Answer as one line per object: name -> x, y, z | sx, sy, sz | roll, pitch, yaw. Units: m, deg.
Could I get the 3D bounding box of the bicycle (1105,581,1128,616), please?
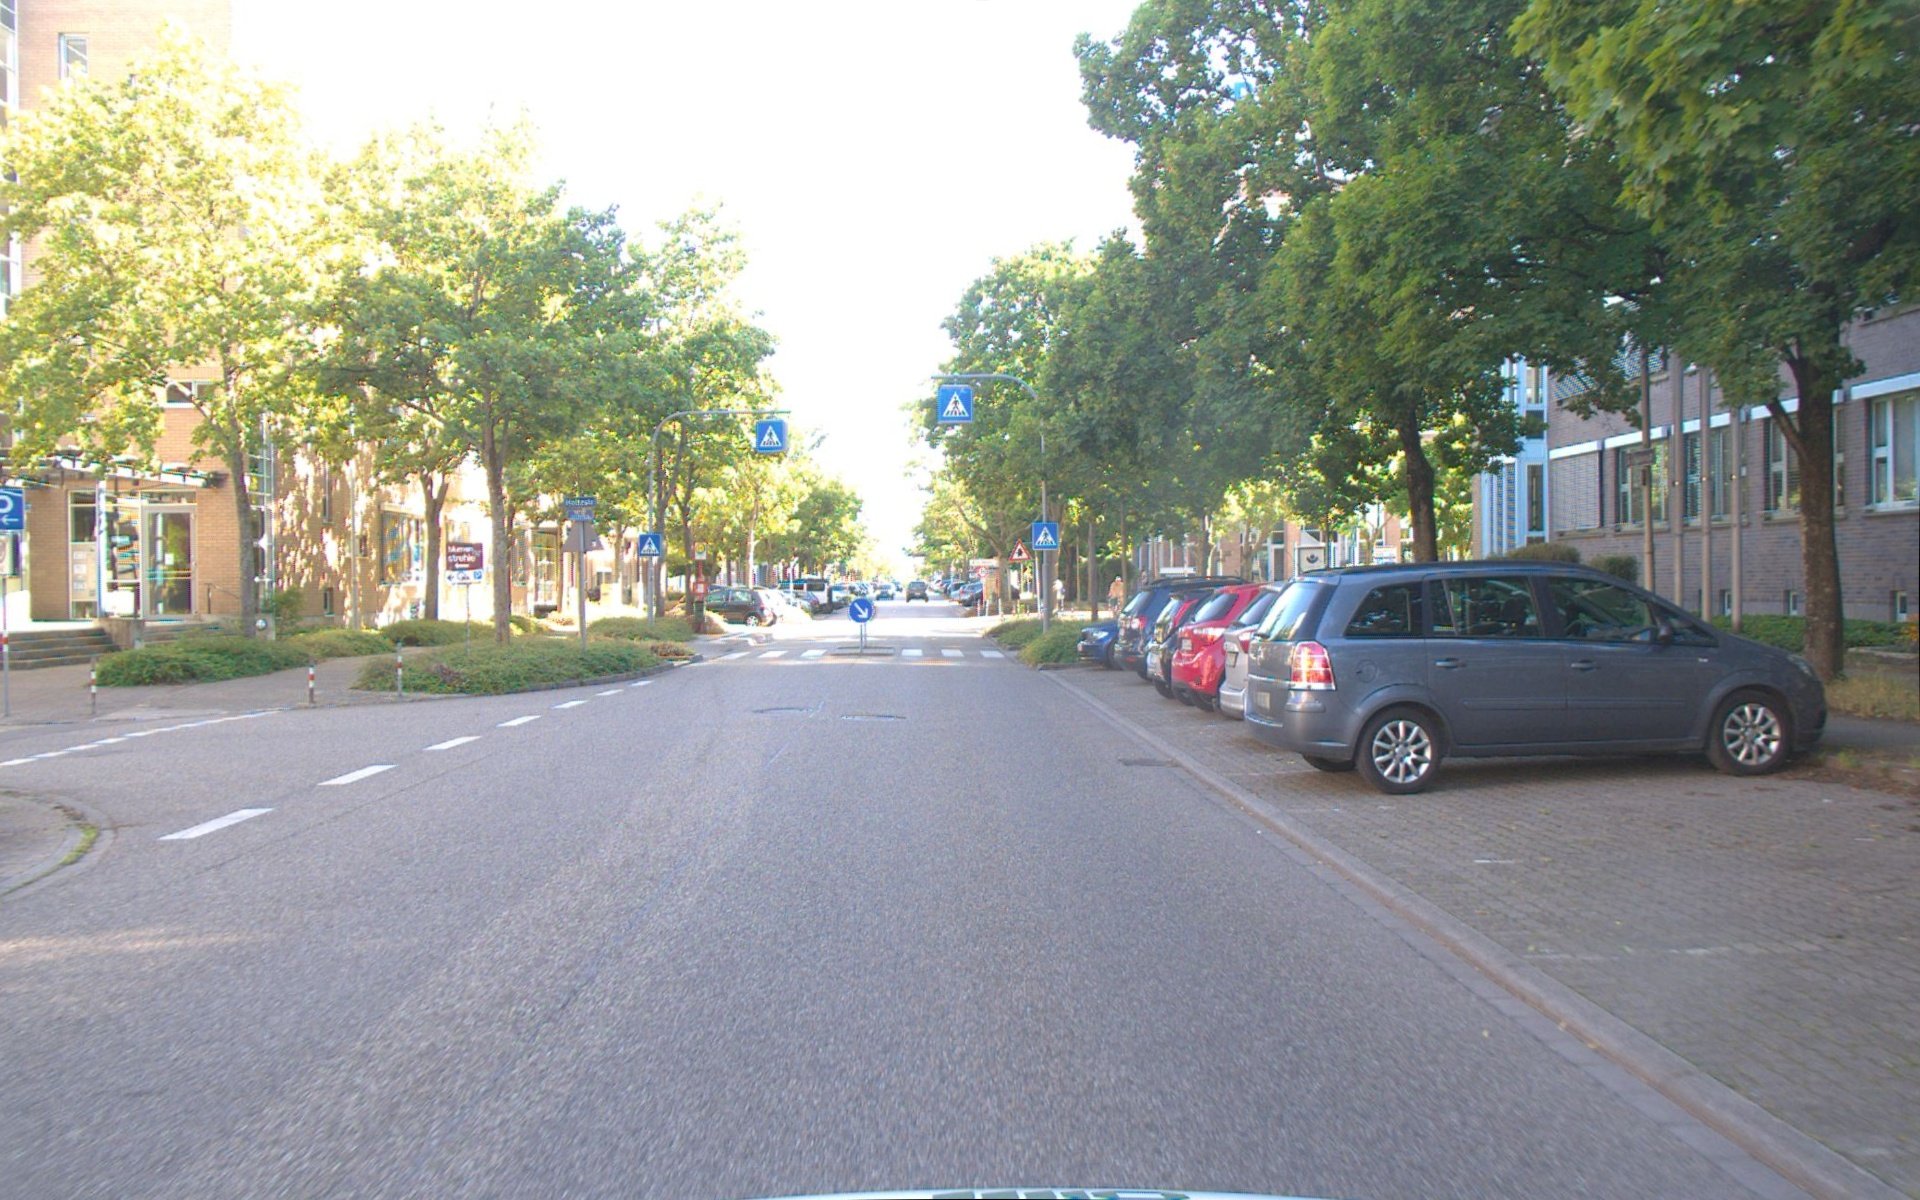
bicycle -> 5.678, -0.055, 59.846 | 0.669, 1.236, 1.978 | -2, 0, 9

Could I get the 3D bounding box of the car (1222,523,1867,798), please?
car -> 4.353, 0.414, 12.721 | 4.266, 1.733, 1.811 | -3, 0, -5

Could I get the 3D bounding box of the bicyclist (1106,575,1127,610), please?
bicyclist -> 5.671, -0.263, 59.834 | 0.683, 1.236, 0.946 | -2, 0, 9

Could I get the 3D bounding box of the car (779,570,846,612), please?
car -> -9.098, -0.567, 102.416 | 3.903, 2.586, 1.863 | 0, 0, 3

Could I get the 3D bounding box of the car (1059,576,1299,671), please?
car -> 4.044, 0.415, 30.892 | 4.109, 1.498, 1.811 | -3, 0, -5

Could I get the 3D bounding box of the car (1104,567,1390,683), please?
car -> 4.493, 0.379, 26.234 | 4.109, 1.562, 1.811 | -3, 0, -5

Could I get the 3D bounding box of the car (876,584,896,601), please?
car -> -7.319, -0.750, 164.397 | 1.777, 1.551, 3.999 | -2, 0, -1

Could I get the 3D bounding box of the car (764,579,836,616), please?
car -> -9.354, -0.156, 97.082 | 3.904, 2.049, 2.001 | -2, 0, 2

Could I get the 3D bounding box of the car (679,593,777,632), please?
car -> -9.334, 0.496, 66.838 | 3.773, 1.499, 1.811 | 1, 0, -5

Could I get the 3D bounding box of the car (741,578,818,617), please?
car -> -9.981, -0.145, 91.573 | 3.904, 2.049, 2.001 | -2, 0, 2

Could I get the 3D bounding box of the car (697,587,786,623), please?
car -> -9.418, 0.201, 71.360 | 3.776, 1.499, 1.810 | 1, 0, -8

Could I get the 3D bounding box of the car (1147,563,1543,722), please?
car -> 4.406, 0.461, 19.319 | 4.109, 1.562, 1.811 | -3, 0, -5

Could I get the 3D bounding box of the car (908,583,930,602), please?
car -> -3.708, -0.653, 148.275 | 1.953, 1.668, 3.999 | 1, 0, -2

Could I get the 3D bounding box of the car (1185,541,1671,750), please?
car -> 4.426, 0.401, 16.019 | 4.109, 1.697, 1.811 | -3, 0, -5

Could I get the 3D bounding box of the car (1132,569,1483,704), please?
car -> 4.469, 0.450, 21.632 | 4.109, 1.473, 1.811 | -3, 0, -5

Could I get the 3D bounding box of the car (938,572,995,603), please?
car -> 0.442, -0.890, 117.003 | 3.908, 2.049, 1.999 | -2, 0, -4

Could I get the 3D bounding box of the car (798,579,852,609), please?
car -> -9.897, -0.441, 121.527 | 3.908, 2.049, 1.999 | -2, 0, -4

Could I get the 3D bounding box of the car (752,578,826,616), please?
car -> -9.738, -0.156, 94.494 | 3.904, 2.049, 2.001 | -2, 0, 2
